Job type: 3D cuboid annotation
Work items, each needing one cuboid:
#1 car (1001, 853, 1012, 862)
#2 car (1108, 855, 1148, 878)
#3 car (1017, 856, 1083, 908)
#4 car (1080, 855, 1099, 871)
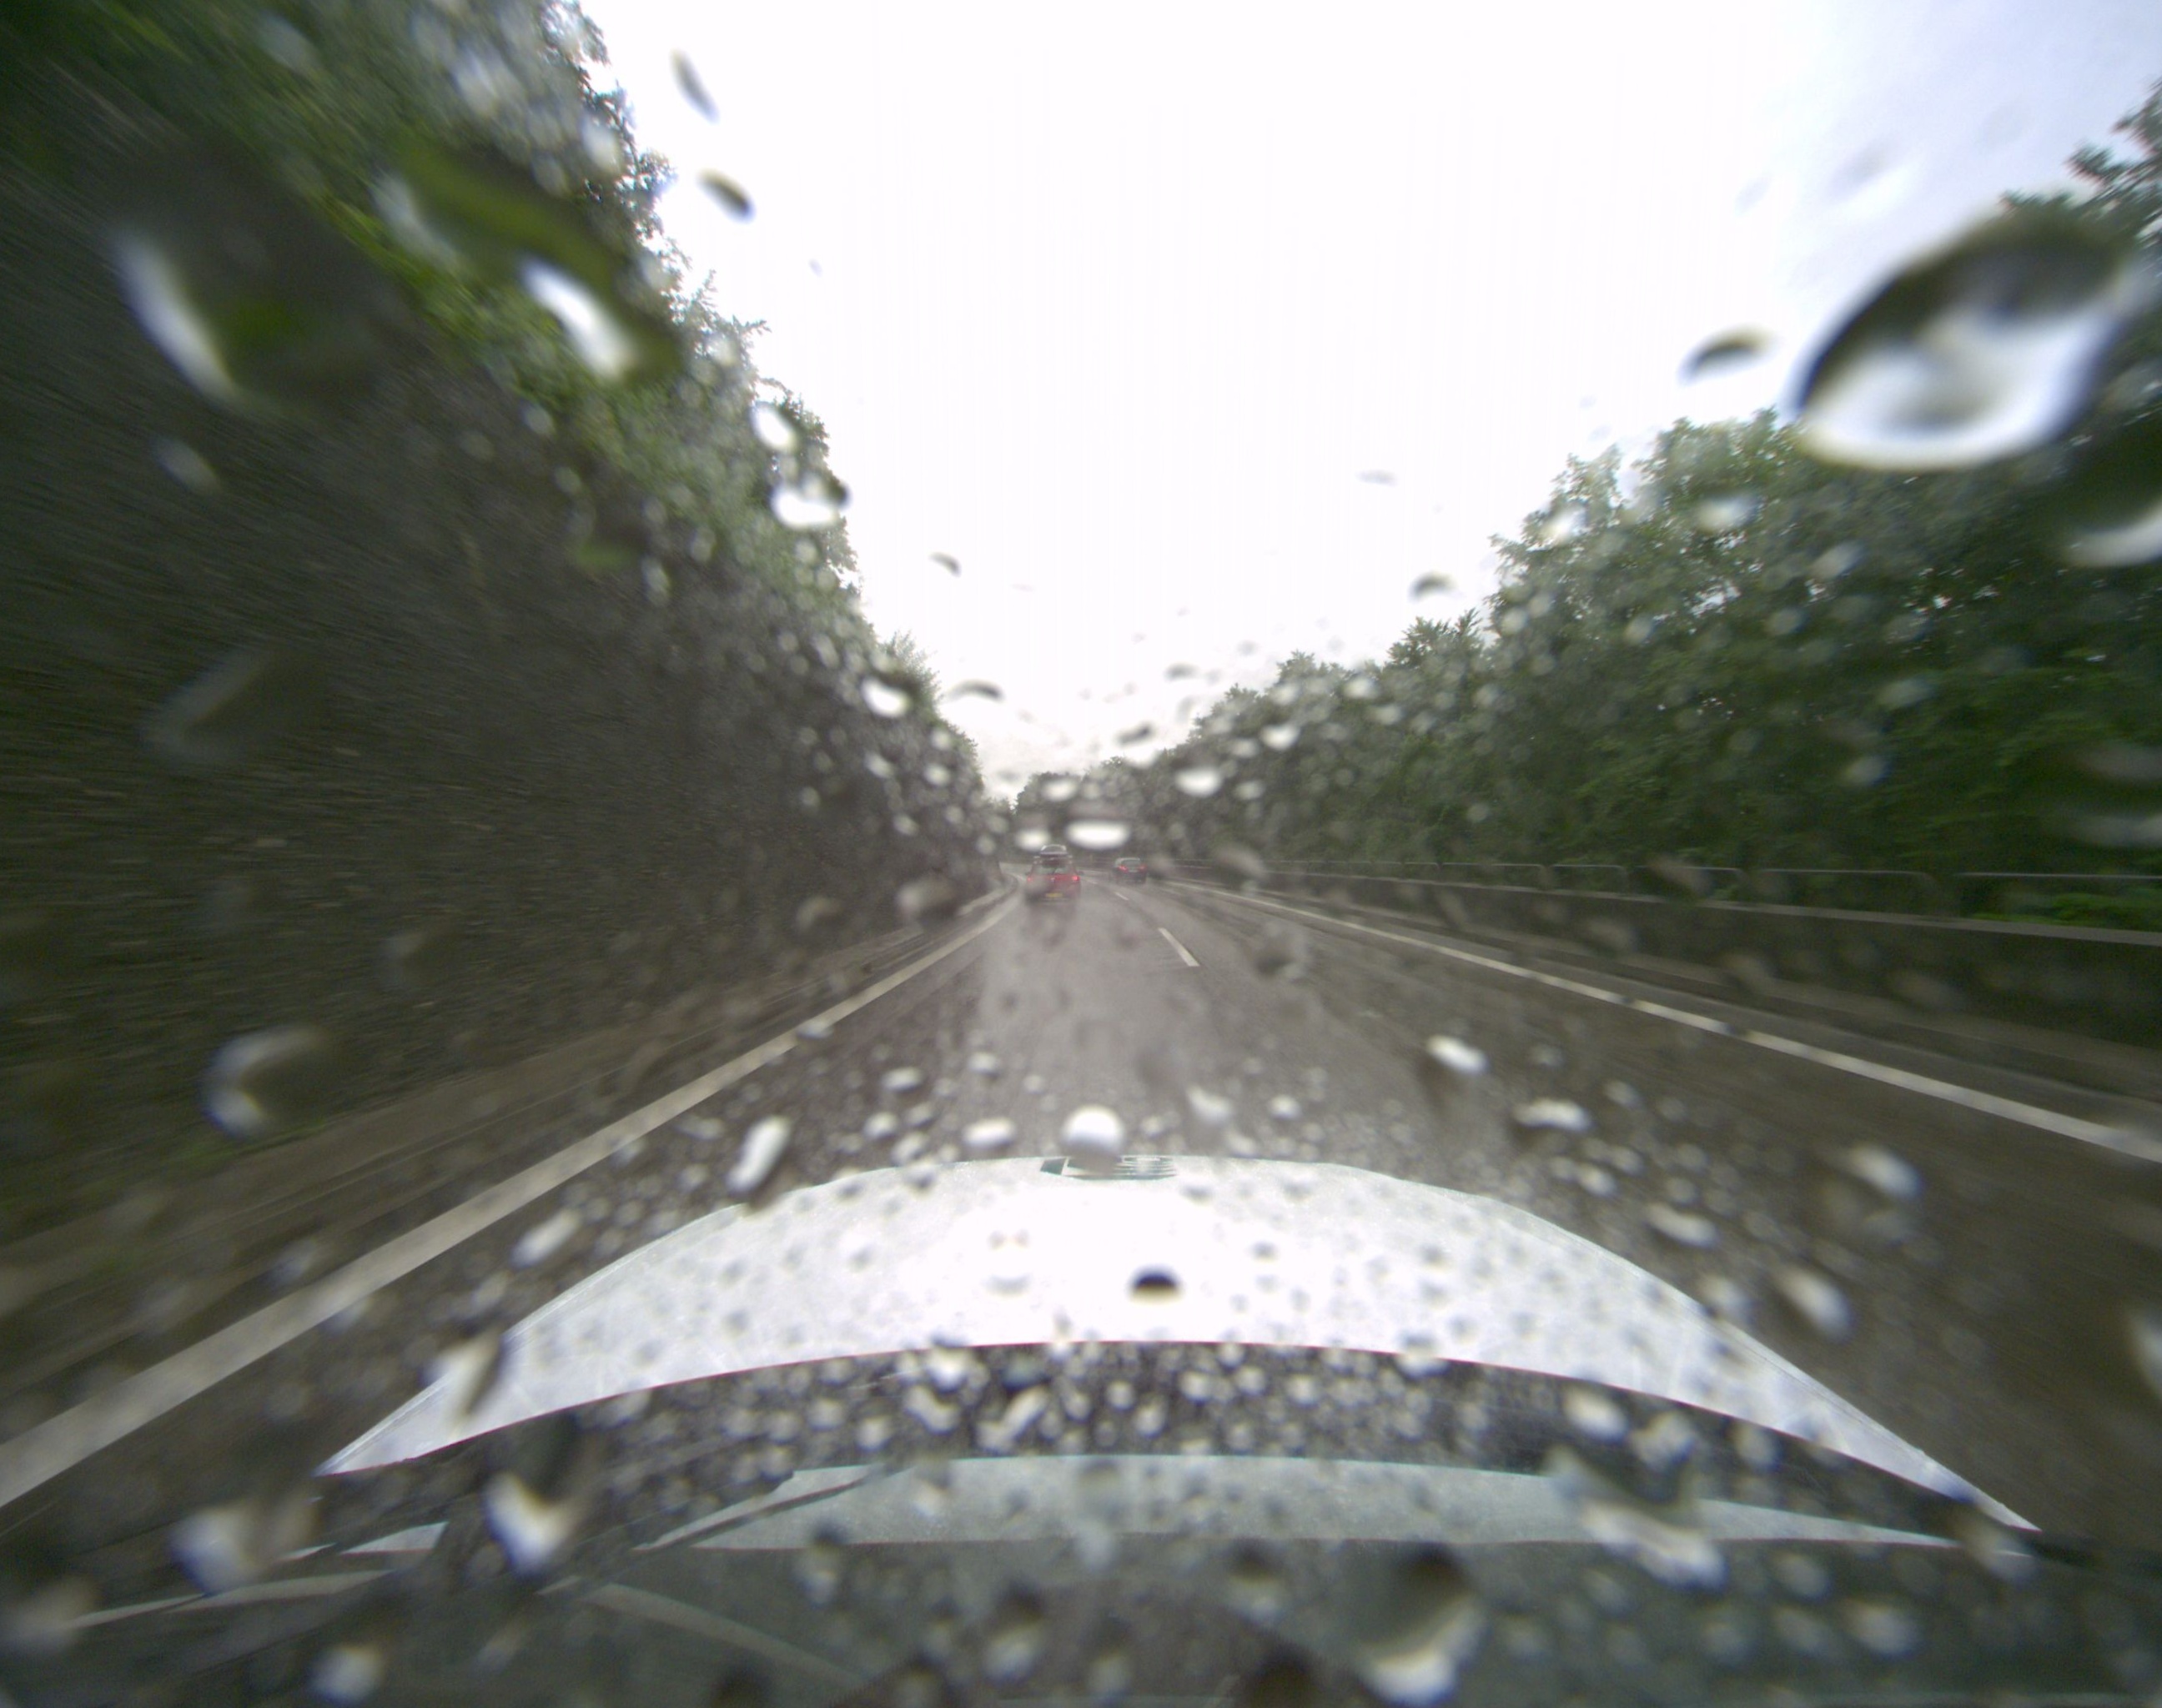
[{"bbox_3d":[-12.531,0.612,137.463,1.798,1.467,3.992,-1,-1,-5],"label":"car"},{"bbox_3d":[2.759,0.755,48.563,1.798,1.308,3.991,-1,-1,-6],"label":"car"},{"bbox_3d":[-0.942,0.859,26.875,1.987,1.552,3.999,-1,0,0],"label":"car"},{"bbox_3d":[0.909,1.017,88.948,1.987,1.750,3.999,0,-1,0],"label":"car"}]
